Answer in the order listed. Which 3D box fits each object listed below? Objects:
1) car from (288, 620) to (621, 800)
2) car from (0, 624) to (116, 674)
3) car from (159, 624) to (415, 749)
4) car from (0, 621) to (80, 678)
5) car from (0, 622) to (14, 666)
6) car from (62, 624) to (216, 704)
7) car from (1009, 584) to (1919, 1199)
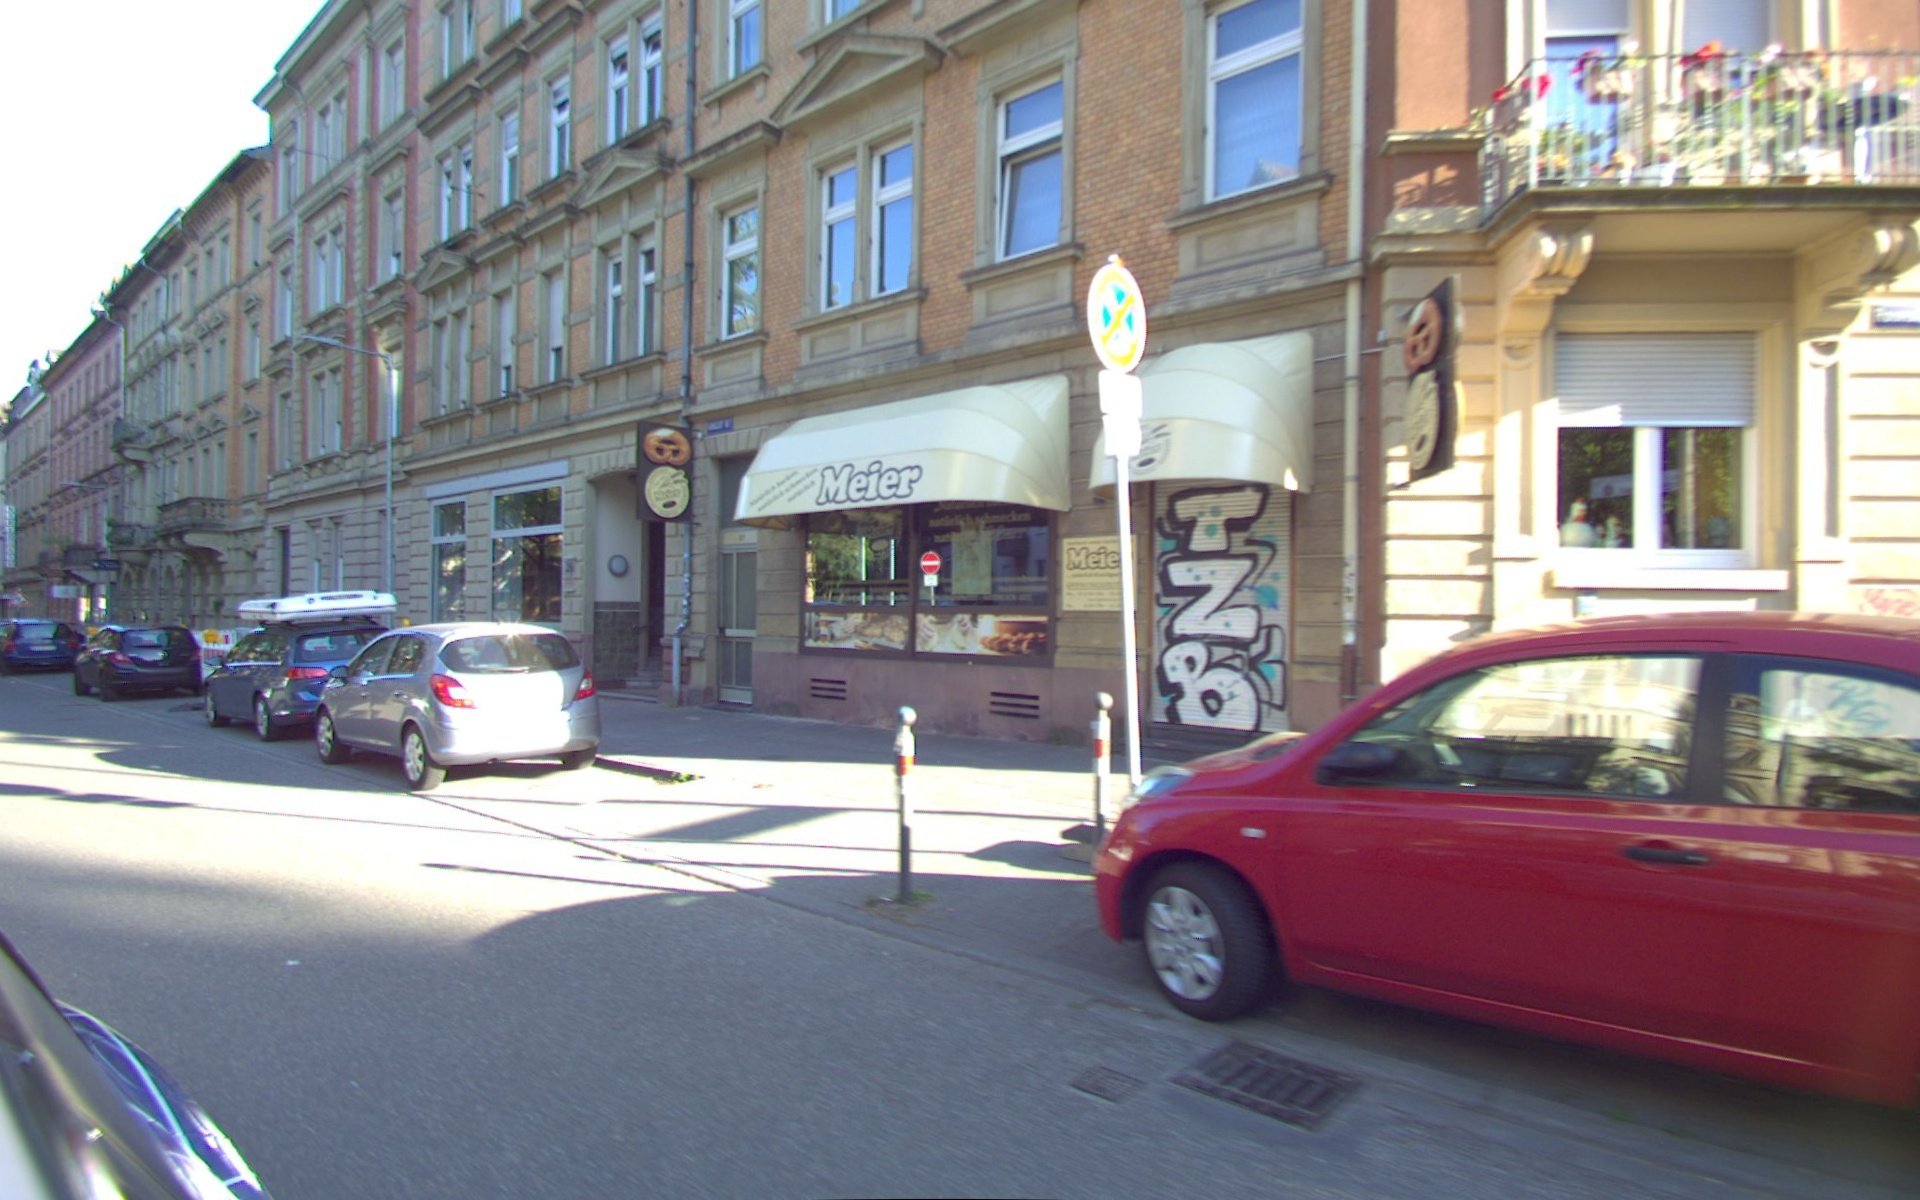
[{"bbox_3d":[-5.327,0.966,10.433,3.994,1.448,1.707,-1,0,42],"label":"car"},{"bbox_3d":[-30.116,1.568,32.744,1.822,1.541,3.952,-1,-2,35],"label":"car"},{"bbox_3d":[-9.240,1.054,13.764,4.297,1.448,1.747,-1,-2,40],"label":"car"},{"bbox_3d":[-27.525,1.428,29.966,3.893,1.579,1.723,-1,-2,42],"label":"car"},{"bbox_3d":[-36.371,1.639,37.203,4.042,1.586,1.632,-2,1,37],"label":"car"},{"bbox_3d":[-16.694,1.225,20.525,4.017,1.465,1.686,-1,-2,40],"label":"car"},{"bbox_3d":[2.272,0.750,3.672,3.996,1.542,1.653,-1,-1,39],"label":"car"}]
